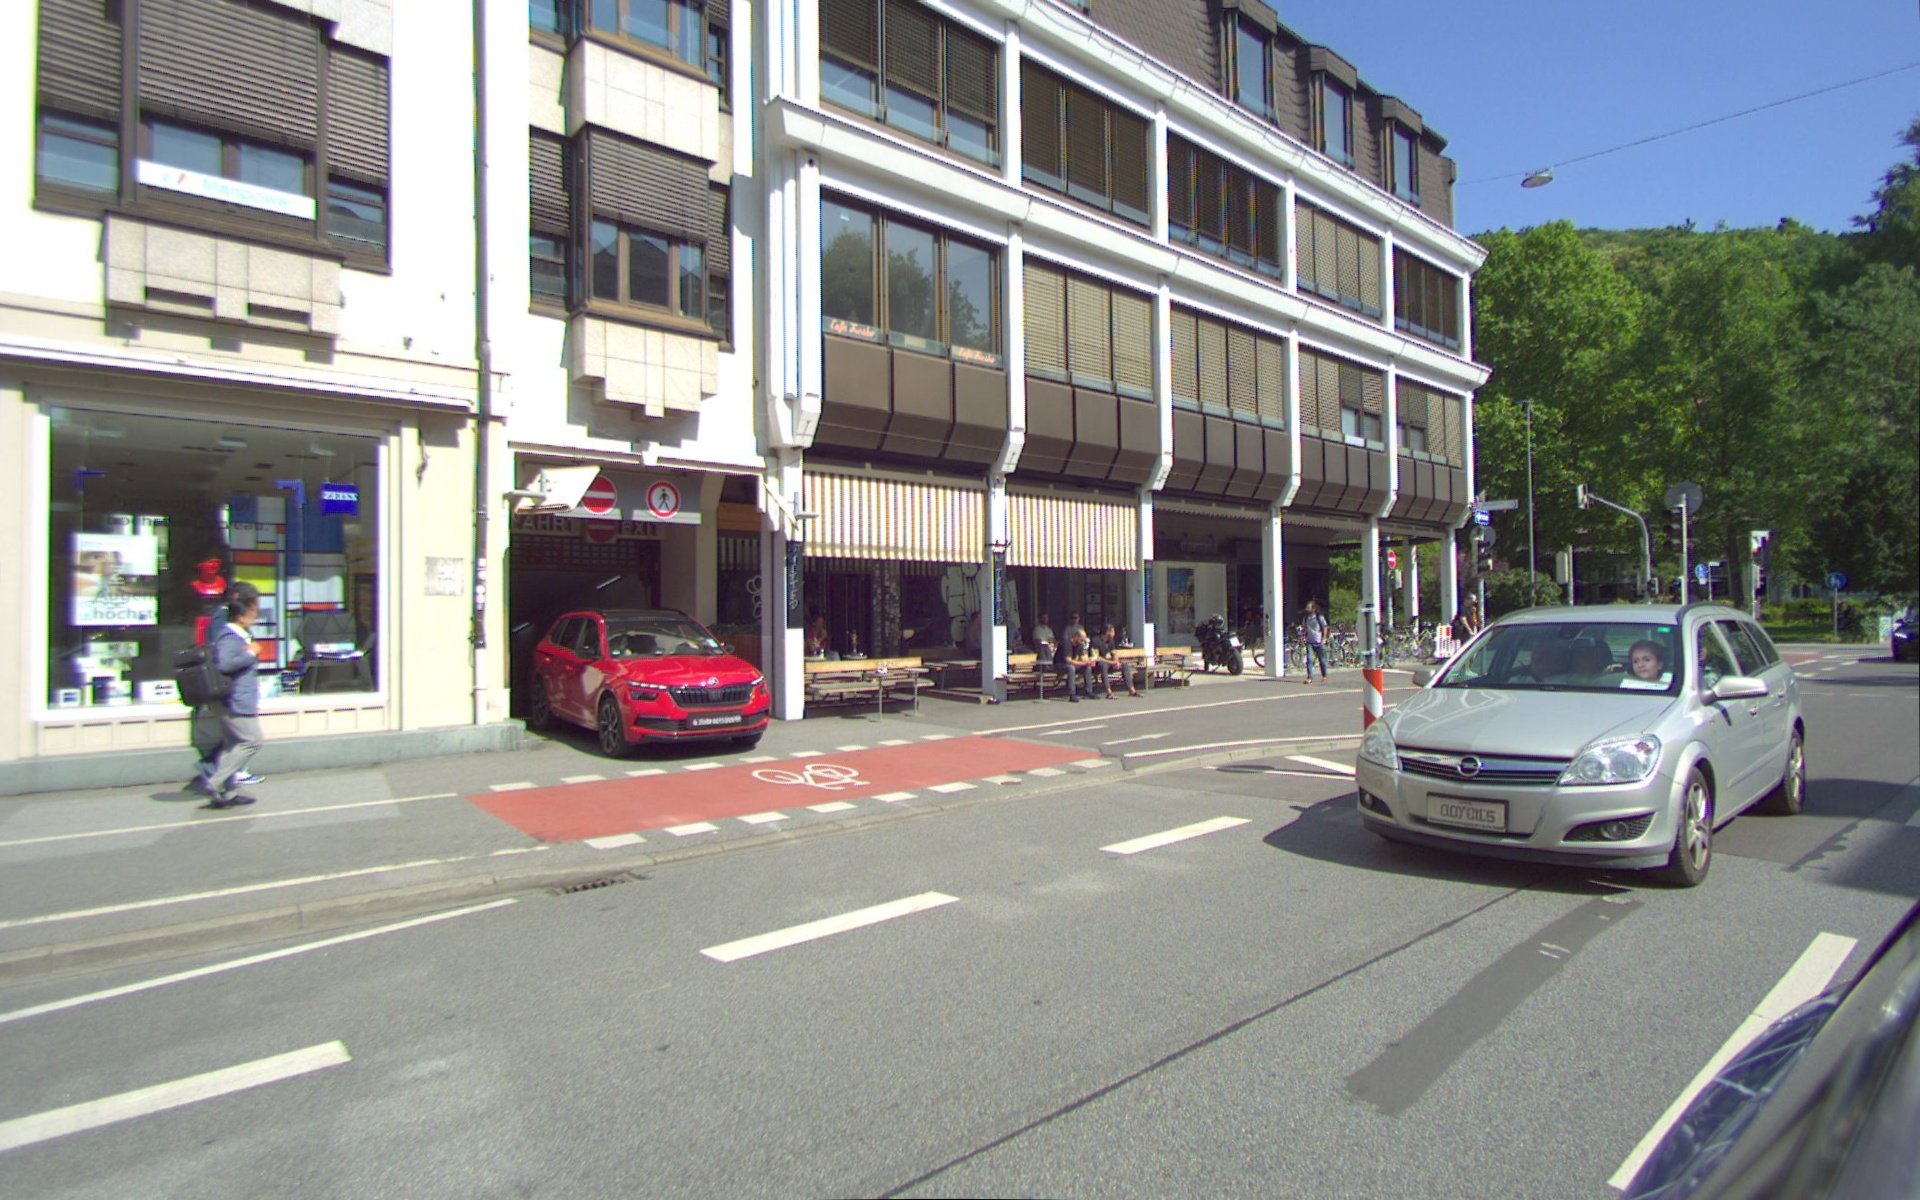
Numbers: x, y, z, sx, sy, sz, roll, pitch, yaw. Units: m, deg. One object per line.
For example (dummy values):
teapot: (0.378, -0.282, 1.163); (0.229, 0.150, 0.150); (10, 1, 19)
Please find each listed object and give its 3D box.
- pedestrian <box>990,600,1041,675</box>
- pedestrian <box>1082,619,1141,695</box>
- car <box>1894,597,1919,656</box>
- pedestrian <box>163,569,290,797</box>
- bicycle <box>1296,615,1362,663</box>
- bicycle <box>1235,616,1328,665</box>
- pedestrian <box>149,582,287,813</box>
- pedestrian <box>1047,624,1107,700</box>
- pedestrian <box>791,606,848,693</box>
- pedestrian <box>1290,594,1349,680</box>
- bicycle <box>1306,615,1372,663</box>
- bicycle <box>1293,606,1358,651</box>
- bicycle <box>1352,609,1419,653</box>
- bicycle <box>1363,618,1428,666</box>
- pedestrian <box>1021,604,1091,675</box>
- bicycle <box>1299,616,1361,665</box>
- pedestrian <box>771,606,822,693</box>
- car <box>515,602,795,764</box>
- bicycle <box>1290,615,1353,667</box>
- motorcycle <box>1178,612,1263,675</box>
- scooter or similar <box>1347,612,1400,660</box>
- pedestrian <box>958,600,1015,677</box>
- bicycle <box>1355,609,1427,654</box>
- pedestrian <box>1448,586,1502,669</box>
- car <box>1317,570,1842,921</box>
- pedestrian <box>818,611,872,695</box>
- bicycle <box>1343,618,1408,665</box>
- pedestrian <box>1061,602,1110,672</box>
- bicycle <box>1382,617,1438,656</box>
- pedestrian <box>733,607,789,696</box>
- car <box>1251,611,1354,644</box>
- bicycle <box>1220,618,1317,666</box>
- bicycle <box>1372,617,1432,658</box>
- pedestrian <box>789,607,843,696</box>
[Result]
pedestrian: (1.090, 0.720, 19.917); (0.685, 1.414, 0.712); (-1, 0, -41)
pedestrian: (2.596, 0.963, 17.351); (0.683, 1.232, 0.714); (-1, 0, -32)
car: (25.580, 0.638, 25.998); (4.138, 1.447, 1.846); (-1, -1, -41)
pedestrian: (-6.419, 0.683, 8.898); (0.819, 1.874, 0.697); (-1, 0, -32)
bicycle: (9.175, 0.957, 25.209); (0.272, 1.134, 1.723); (0, 0, -33)
bicycle: (7.759, 0.973, 24.513); (2.234, 1.135, 0.273); (-2, -2, 43)
pedestrian: (-5.833, 0.722, 8.003); (0.819, 1.707, 0.697); (0, -1, -32)
pedestrian: (1.941, 1.008, 16.823); (0.683, 1.187, 0.714); (-1, 0, -32)
pedestrian: (-2.338, 0.804, 16.799); (0.528, 1.385, 0.878); (0, -2, -41)
pedestrian: (7.283, 0.739, 20.527); (0.683, 1.684, 0.836); (-1, 0, -32)
bicycle: (9.496, 0.969, 25.430); (0.272, 1.134, 1.723); (0, 0, -33)
bicycle: (11.954, 0.935, 33.107); (1.936, 1.440, 0.529); (0, -1, 12)
bicycle: (13.148, 0.952, 31.331); (1.830, 1.334, 0.529); (0, -1, 12)
bicycle: (10.793, 1.027, 25.040); (2.199, 1.135, 0.278); (0, -2, -33)
pedestrian: (1.951, 0.783, 20.645); (1.086, 1.368, 0.897); (-2, 0, -41)
bicycle: (8.981, 0.968, 24.630); (0.272, 1.134, 1.576); (0, 0, -33)
pedestrian: (-2.664, 0.793, 16.478); (0.470, 1.385, 0.762); (0, -2, -41)
car: (-3.783, 0.836, 12.092); (1.809, 1.513, 4.054); (-3, 1, -38)
bicycle: (8.703, 0.973, 24.397); (0.272, 1.222, 1.551); (0, -2, -33)
motorcycle: (5.863, 0.955, 22.933); (0.929, 1.307, 2.247); (-1, 0, -12)
scooter or similar: (10.988, 0.943, 26.912); (0.471, 1.248, 1.250); (0, -1, -34)
pedestrian: (0.507, 0.717, 19.324); (0.685, 1.414, 0.814); (-1, -1, -42)
bicycle: (13.108, 0.958, 30.803); (1.936, 1.334, 0.529); (0, -1, 12)
pedestrian: (11.908, 0.622, 23.388); (0.683, 1.859, 0.836); (-1, 0, -32)
car: (4.219, 0.665, 6.559); (4.330, 1.542, 1.709); (0, -2, -42)
pedestrian: (-1.952, 0.880, 17.186); (0.528, 1.385, 0.837); (0, -2, -41)
bicycle: (10.393, 1.013, 25.257); (2.199, 1.135, 0.278); (0, -2, -33)
pedestrian: (2.635, 0.770, 21.262); (0.685, 1.414, 0.712); (-1, 0, -41)
bicycle: (12.433, 1.001, 27.944); (1.442, 1.079, 0.309); (0, 0, -5)
pedestrian: (-3.209, 0.810, 16.300); (0.574, 1.385, 0.745); (0, -2, -41)
car: (15.435, 1.227, 45.800); (1.826, 1.381, 4.091); (1, -2, -40)
bicycle: (7.322, 0.996, 24.089); (2.230, 1.111, 0.274); (-2, -2, 37)
bicycle: (11.938, 1.019, 27.358); (1.446, 1.079, 0.376); (0, 0, 7)
pedestrian: (-2.320, 0.817, 16.278); (0.677, 1.385, 0.536); (0, -2, -40)
